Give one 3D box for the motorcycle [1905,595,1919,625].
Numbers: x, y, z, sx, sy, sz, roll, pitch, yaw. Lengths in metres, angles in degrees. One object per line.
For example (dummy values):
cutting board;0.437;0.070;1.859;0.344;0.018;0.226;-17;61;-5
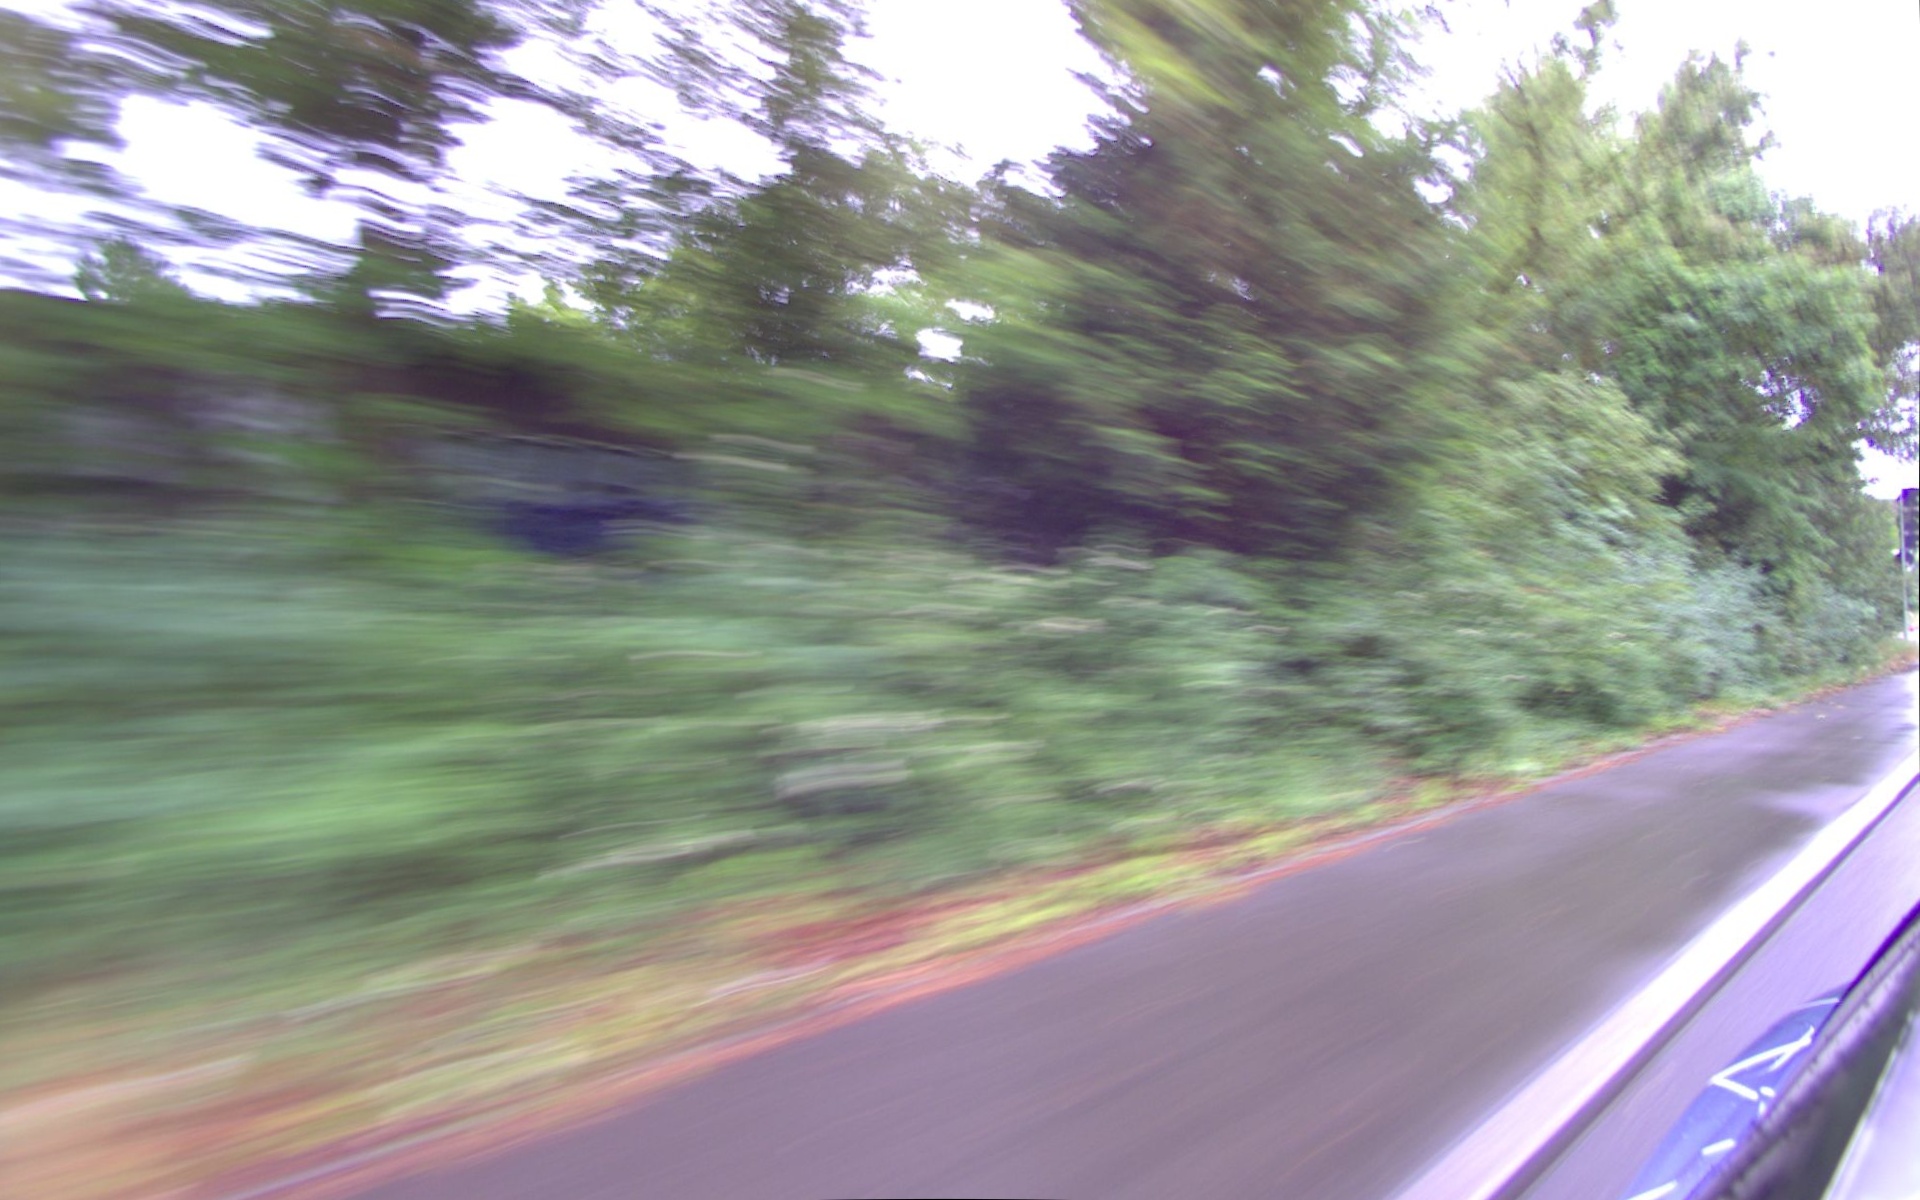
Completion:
motorcycle;41.985;0.423;44.106;1.506;1.305;0.592;-1;-1;-23
